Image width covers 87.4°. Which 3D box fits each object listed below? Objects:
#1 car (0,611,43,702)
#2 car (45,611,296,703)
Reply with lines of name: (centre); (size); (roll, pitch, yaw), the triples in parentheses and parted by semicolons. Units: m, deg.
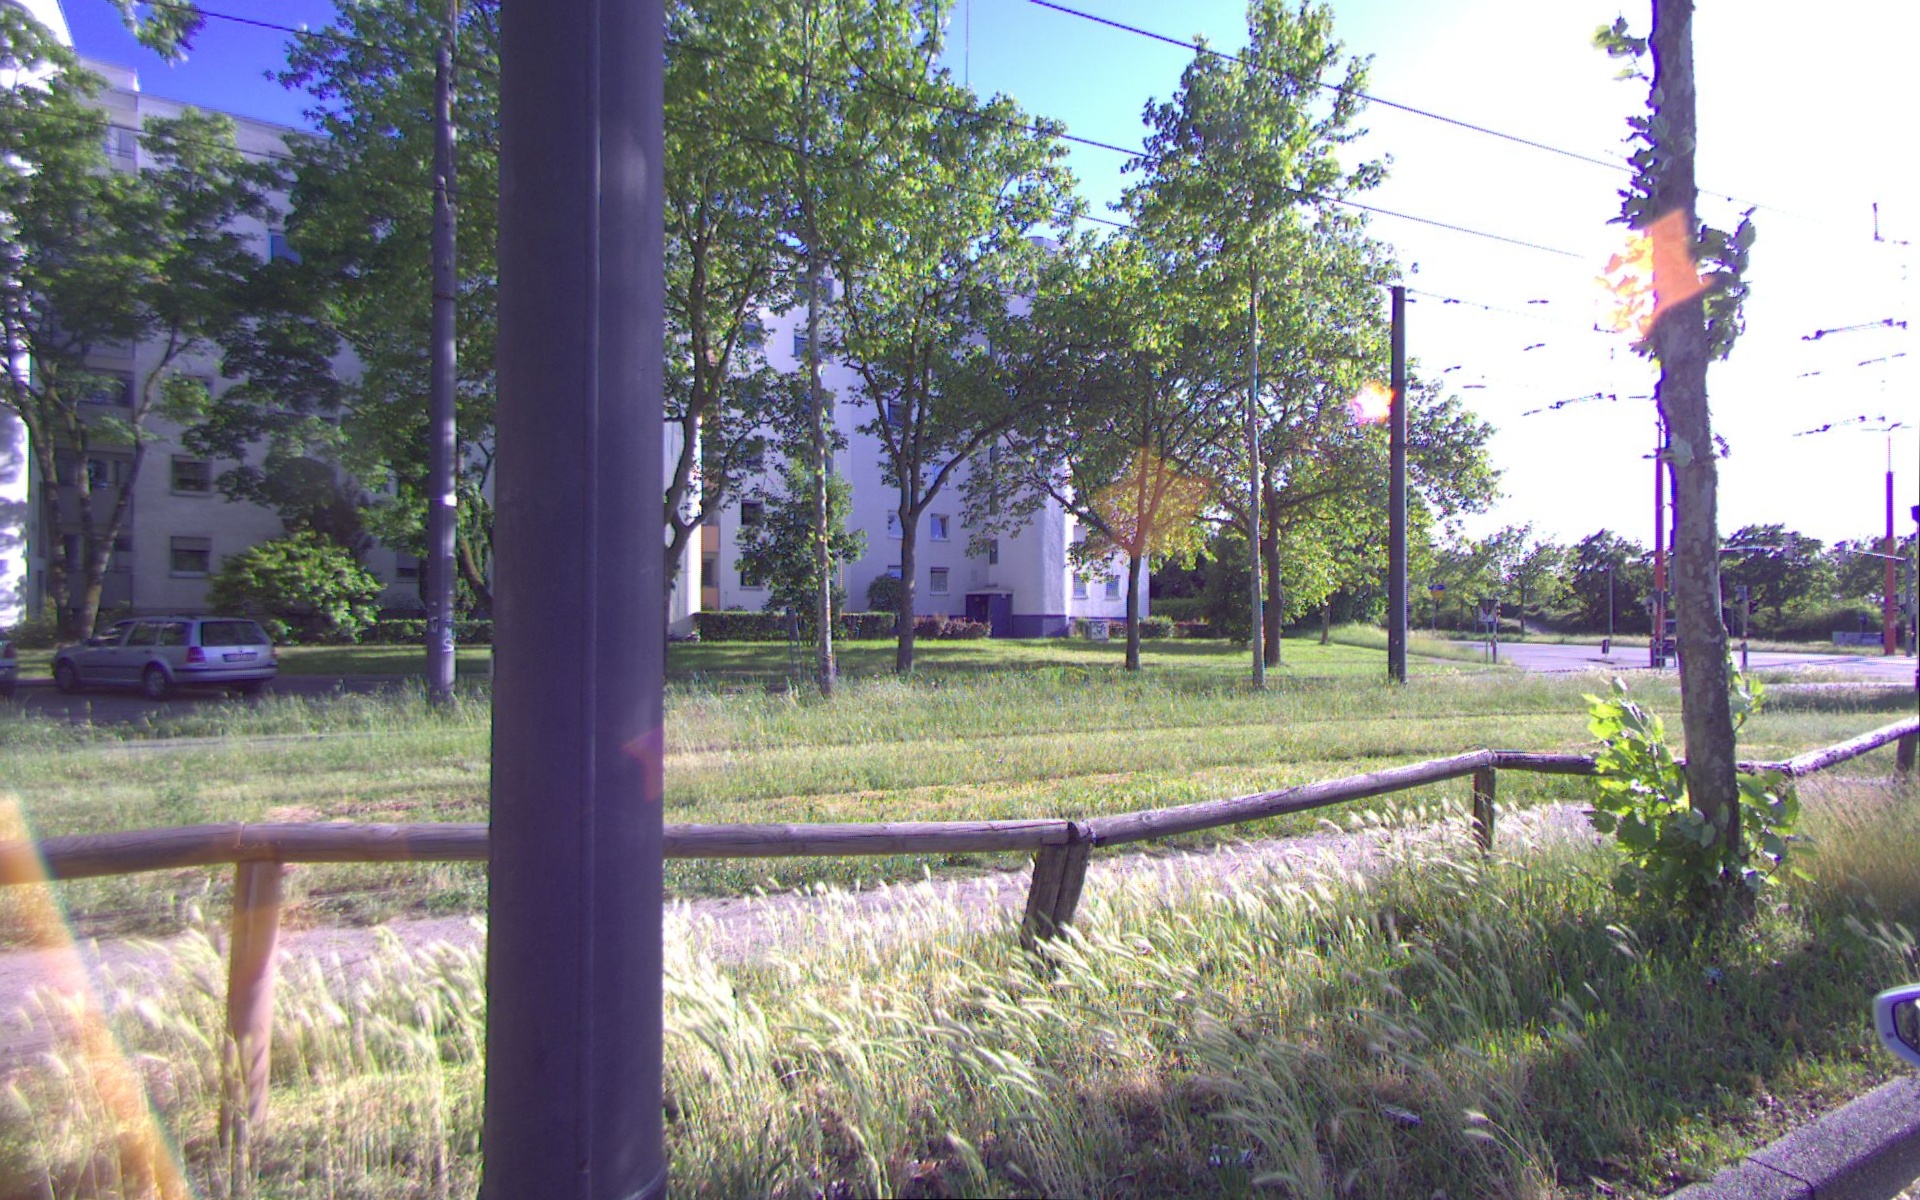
car: (-18.048, 0.936, 17.241); (3.969, 1.506, 1.764); (0, 0, 20)
car: (-14.566, 0.991, 18.555); (3.969, 1.506, 1.815); (0, 0, 20)
